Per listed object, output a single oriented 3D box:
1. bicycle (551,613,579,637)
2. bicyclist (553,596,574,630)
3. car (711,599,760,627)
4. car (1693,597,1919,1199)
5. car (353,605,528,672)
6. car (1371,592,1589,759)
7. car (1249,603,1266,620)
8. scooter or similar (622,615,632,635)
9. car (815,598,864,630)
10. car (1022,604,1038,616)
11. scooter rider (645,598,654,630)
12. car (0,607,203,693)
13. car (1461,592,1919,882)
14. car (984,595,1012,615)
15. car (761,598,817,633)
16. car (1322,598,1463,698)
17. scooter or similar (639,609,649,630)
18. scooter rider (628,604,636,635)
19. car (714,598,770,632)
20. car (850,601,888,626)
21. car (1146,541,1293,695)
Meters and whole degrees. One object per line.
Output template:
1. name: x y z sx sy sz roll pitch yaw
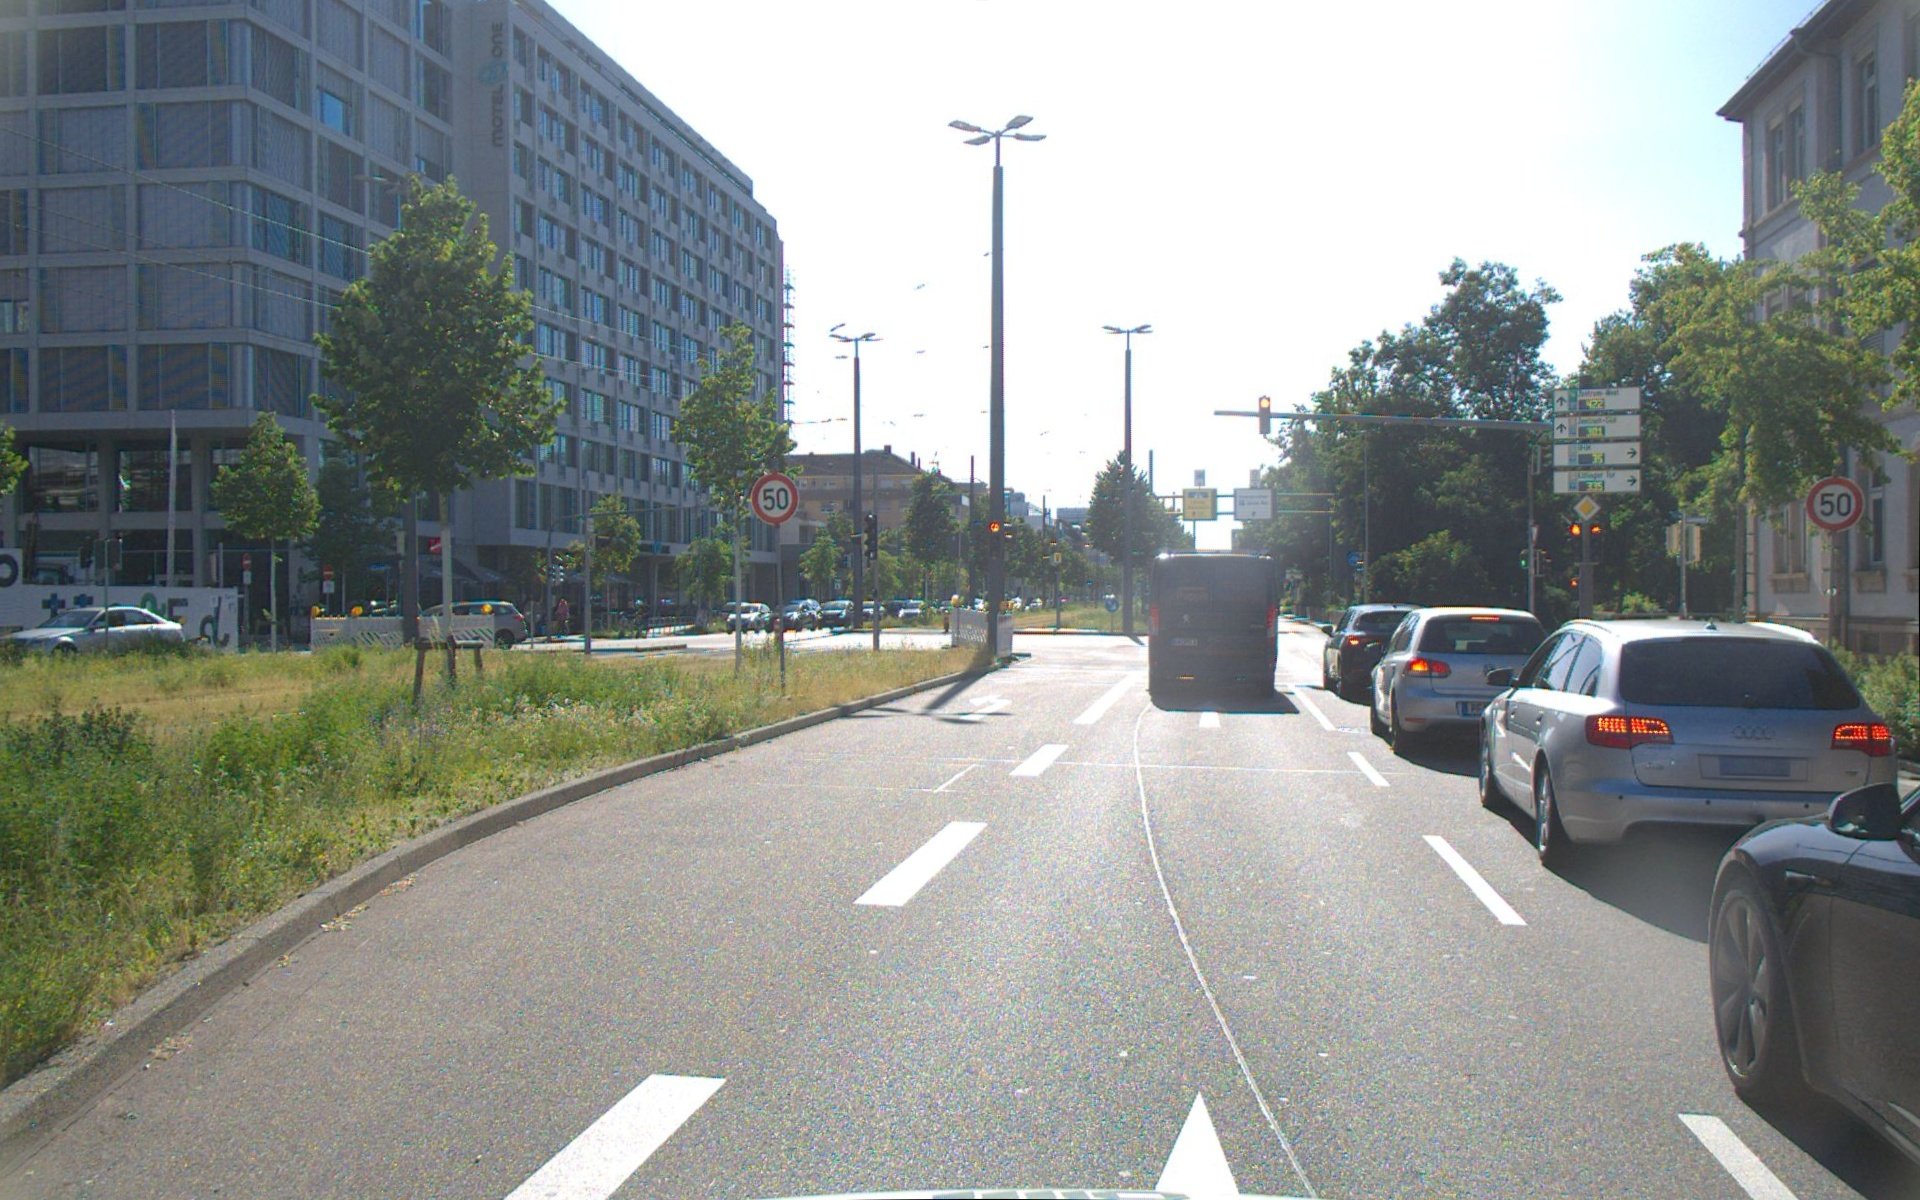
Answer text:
1. bicycle: -18.602 1.169 77.887 0.574 1.119 1.624 2 0 13
2. bicyclist: -18.673 0.610 77.946 0.581 1.608 0.893 2 0 13
3. car: -13.422 0.765 99.146 1.752 1.680 4.003 0 0 10
4. car: 3.152 0.762 3.245 2.007 1.469 4.528 1 0 9
5. car: -15.056 1.068 48.039 4.480 1.824 1.973 0 0 -38
6. car: 5.477 0.713 17.869 1.712 1.554 4.008 1 0 10
7. car: 34.465 1.318 191.547 1.754 1.906 3.853 1 0 8
8. scooter or similar: -15.686 1.172 77.849 0.279 0.964 0.767 0 0 2
9. car: -6.518 0.754 89.989 1.752 1.680 4.003 0 0 10
10. car: 9.431 1.337 222.701 1.752 1.680 4.003 0 0 10
11. scooter rider: -14.542 0.652 77.422 0.335 1.478 0.239 0 0 10
12. car: -19.900 1.081 38.086 1.951 1.824 4.529 0 0 18
13. car: 4.545 0.684 10.908 1.710 1.452 4.842 1 0 9
14. car: 3.249 0.449 140.361 1.752 1.680 4.003 0 0 10
15. car: -8.470 0.738 82.100 1.752 1.680 4.003 0 0 10
16. car: 6.945 0.732 26.888 1.754 1.453 3.853 1 0 8
17. scooter or similar: -14.776 0.916 77.378 0.223 0.964 0.768 0 0 10
18. scooter rider: -15.425 0.920 77.761 0.335 1.478 0.239 0 0 10
19. car: -11.158 0.759 84.807 1.752 1.680 4.003 0 0 10
20. car: -6.139 0.888 111.991 1.752 1.680 4.003 0 0 10
21. car: 4.275 0.244 27.502 2.171 2.307 4.488 1 1 8
